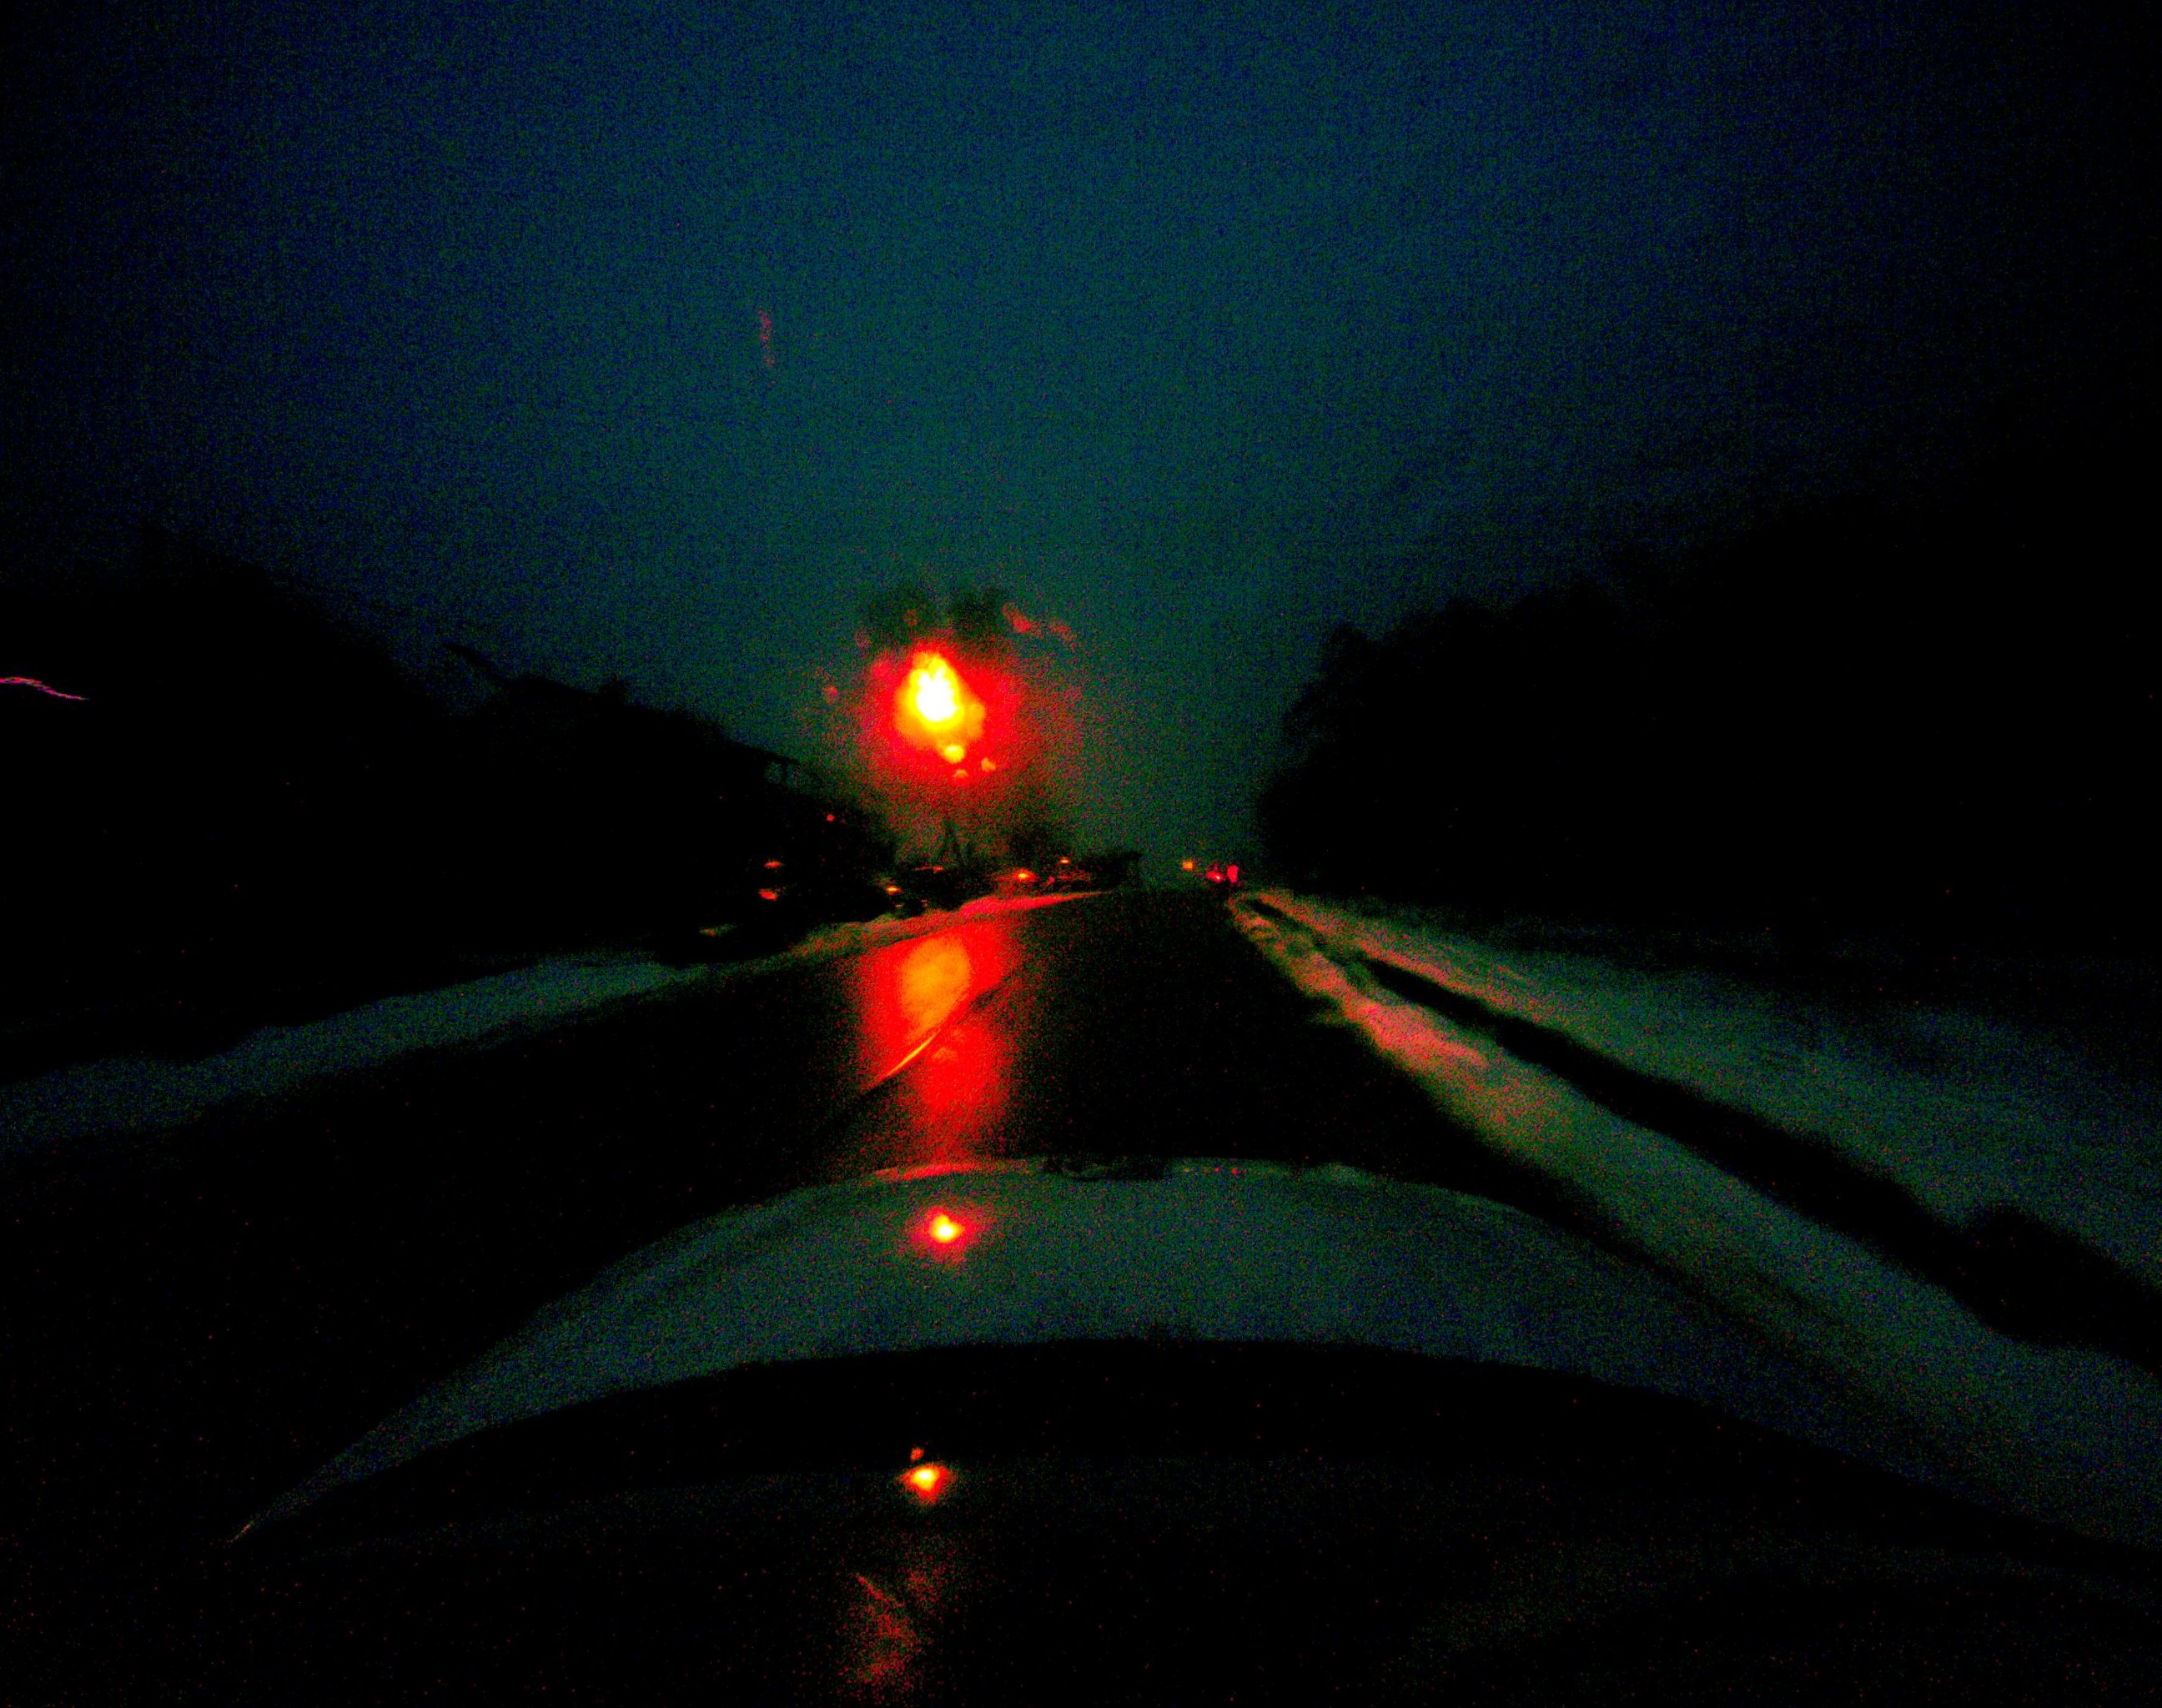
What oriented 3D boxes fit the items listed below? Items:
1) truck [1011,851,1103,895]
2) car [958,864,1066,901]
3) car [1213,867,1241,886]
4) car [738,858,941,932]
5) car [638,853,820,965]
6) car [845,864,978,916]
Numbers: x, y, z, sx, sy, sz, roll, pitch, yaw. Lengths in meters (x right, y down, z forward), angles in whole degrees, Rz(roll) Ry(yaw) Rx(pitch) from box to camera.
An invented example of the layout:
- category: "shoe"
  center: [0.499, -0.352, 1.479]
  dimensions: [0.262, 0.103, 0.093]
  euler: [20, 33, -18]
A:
- category: "truck"
  center: [-1.414, 1.155, 49.536]
  dimensions: [5.236, 2.303, 2.003]
  euler: [-3, -1, 5]
- category: "car"
  center: [-3.336, 1.385, 39.869]
  dimensions: [4.862, 1.485, 2.127]
  euler: [-3, -1, 6]
- category: "car"
  center: [11.254, 1.745, 62.966]
  dimensions: [1.982, 1.420, 4.009]
  euler: [-1, -2, 9]
- category: "car"
  center: [-6.045, 1.016, 20.850]
  dimensions: [4.516, 1.566, 2.109]
  euler: [-3, -1, -2]
- category: "car"
  center: [-6.223, 0.925, 15.074]
  dimensions: [1.995, 1.566, 4.977]
  euler: [-4, -1, -12]
- category: "car"
  center: [-5.467, 1.153, 26.655]
  dimensions: [3.839, 1.471, 1.939]
  euler: [-3, -1, 2]
